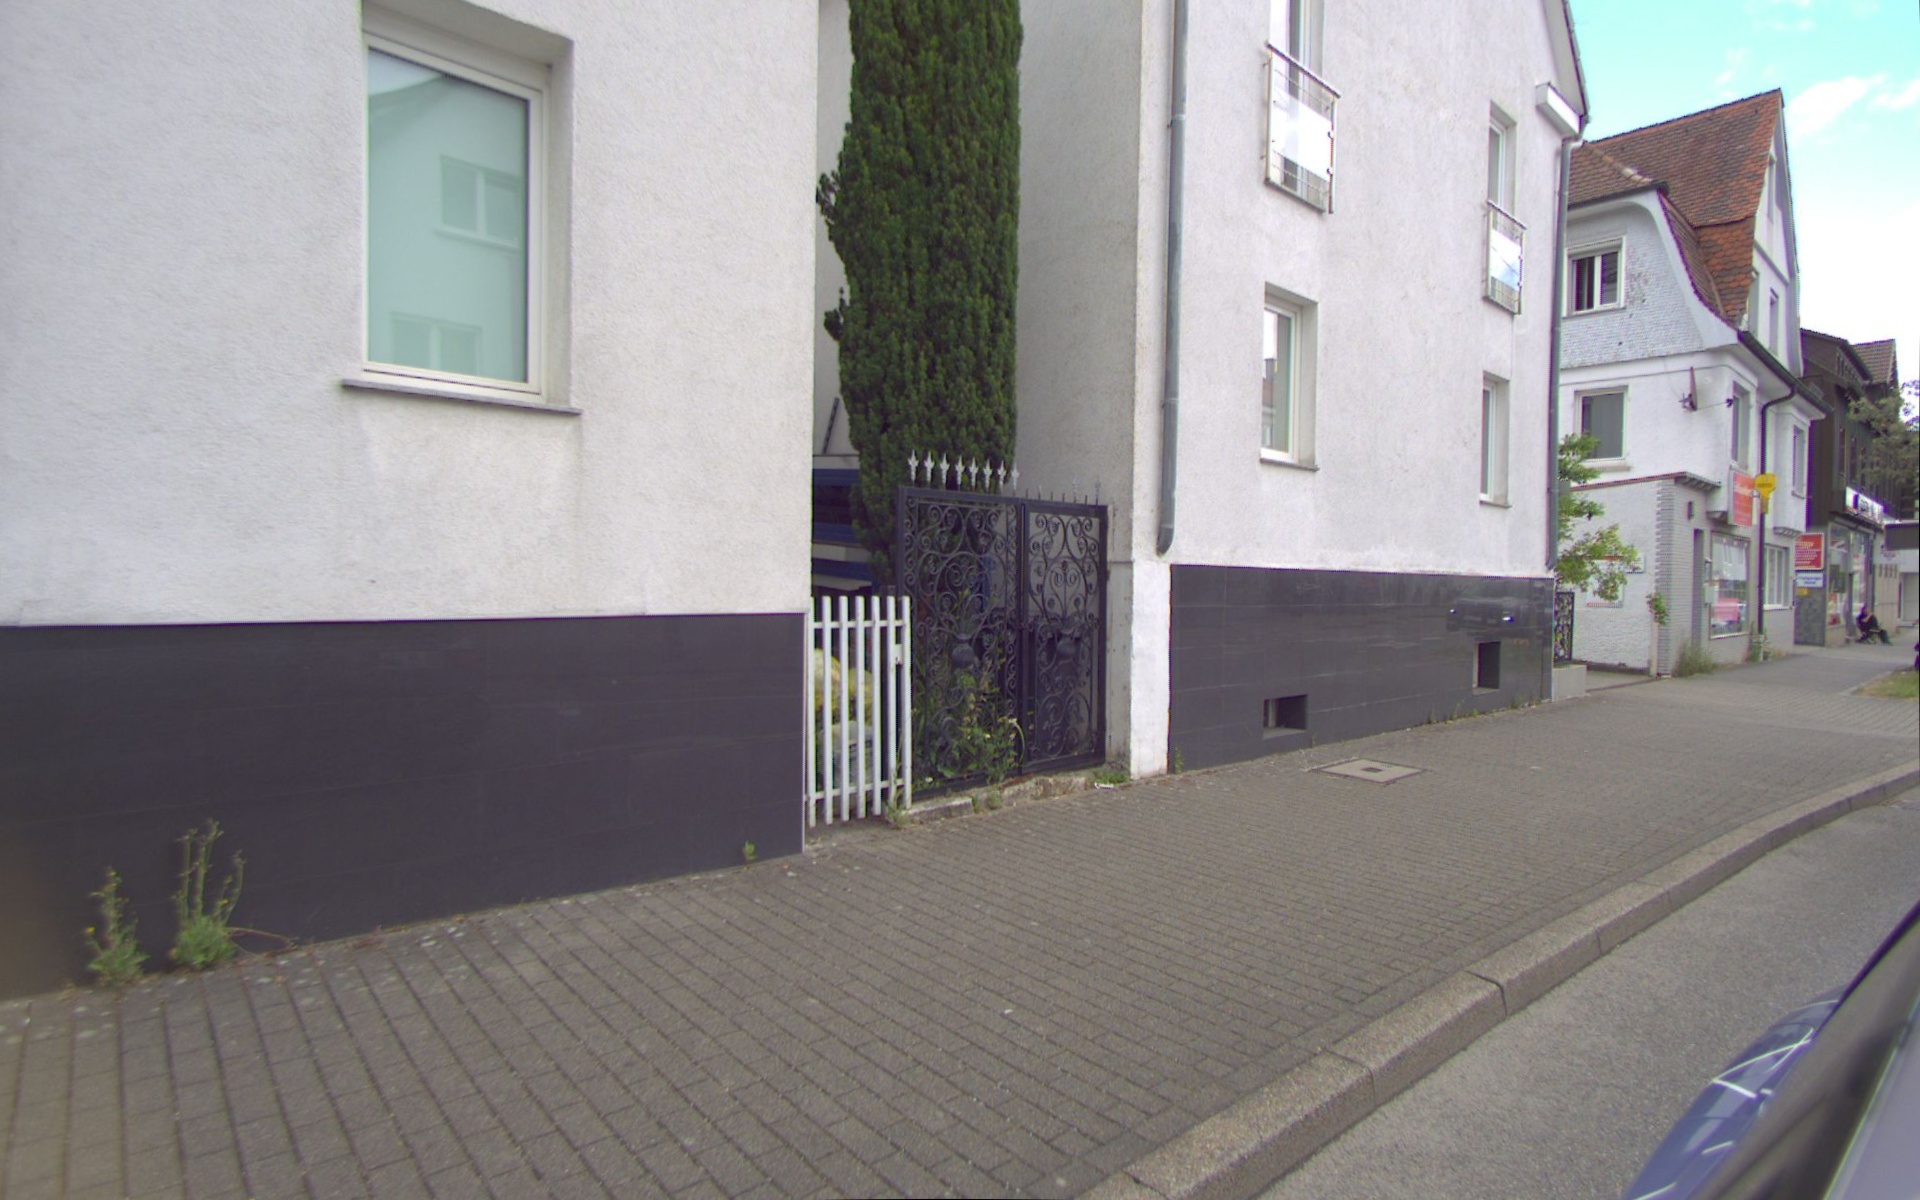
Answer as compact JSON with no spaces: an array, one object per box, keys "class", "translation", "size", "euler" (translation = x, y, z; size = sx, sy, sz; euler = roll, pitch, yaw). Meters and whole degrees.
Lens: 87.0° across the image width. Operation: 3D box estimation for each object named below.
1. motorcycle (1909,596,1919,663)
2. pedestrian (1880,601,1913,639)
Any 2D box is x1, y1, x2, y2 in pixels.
[{"class":"motorcycle","translation":[20.289,0.624,20.279],"size":[0.763,1.399,2.236],"euler":[0,0,11]},{"class":"pedestrian","translation":[31.319,0.656,33.846],"size":[0.633,1.226,0.741],"euler":[0,2,-42]}]
